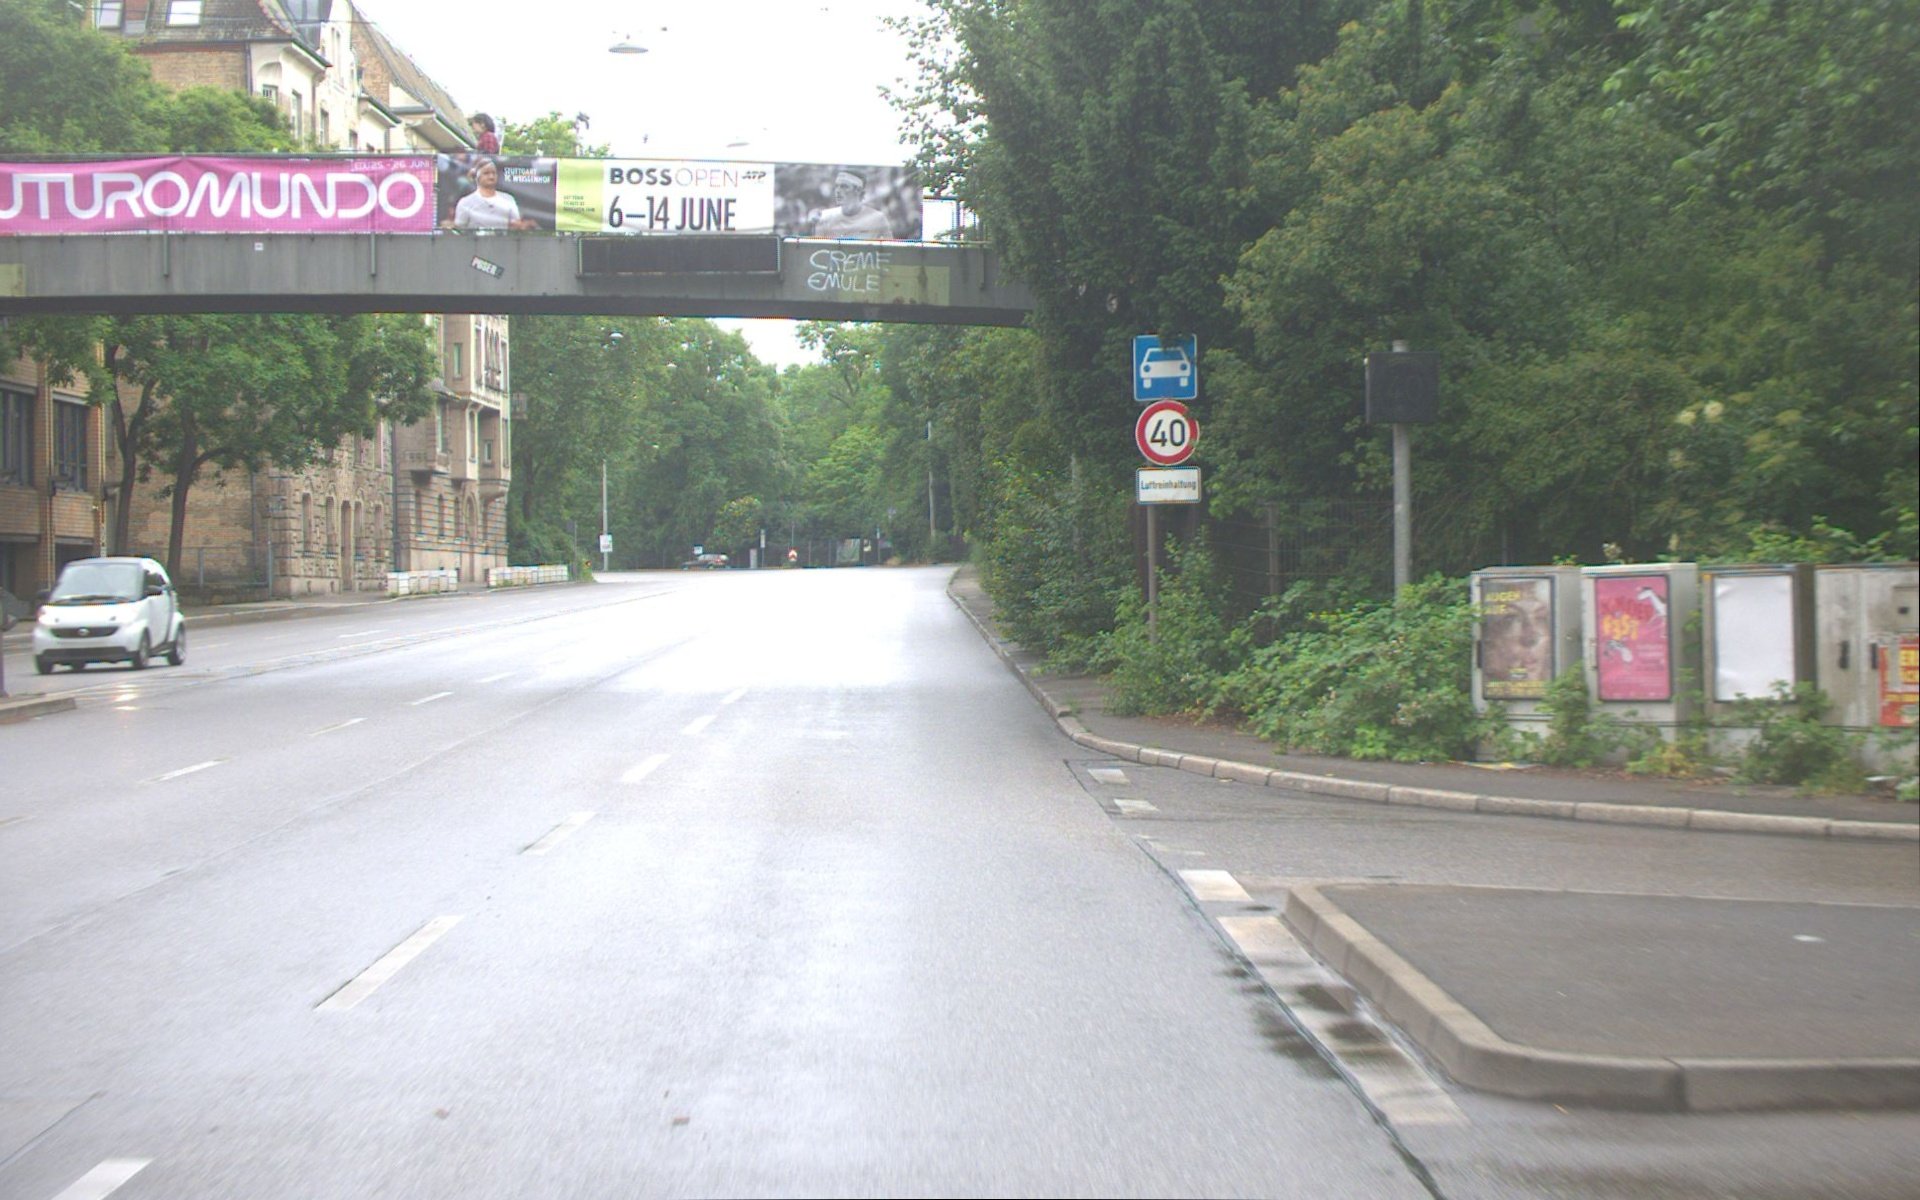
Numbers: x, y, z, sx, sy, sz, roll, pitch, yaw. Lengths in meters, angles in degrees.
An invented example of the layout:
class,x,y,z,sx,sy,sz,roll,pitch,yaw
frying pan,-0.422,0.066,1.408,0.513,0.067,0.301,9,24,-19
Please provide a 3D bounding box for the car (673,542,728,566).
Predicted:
class,x,y,z,sx,sy,sz,roll,pitch,yaw
car,-18.143,-3.211,240.385,3.587,1.542,1.613,2,0,1

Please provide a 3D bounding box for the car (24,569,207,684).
class,x,y,z,sx,sy,sz,roll,pitch,yaw
car,-11.614,0.335,47.491,1.600,1.494,3.711,-1,0,0

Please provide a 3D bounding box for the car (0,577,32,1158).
class,x,y,z,sx,sy,sz,roll,pitch,yaw
car,-3.289,0.683,6.643,1.776,1.453,4.478,0,1,0

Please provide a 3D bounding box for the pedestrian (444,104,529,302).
class,x,y,z,sx,sy,sz,roll,pitch,yaw
pedestrian,-5.981,-5.005,43.476,0.954,2.337,1.007,2,0,-6
